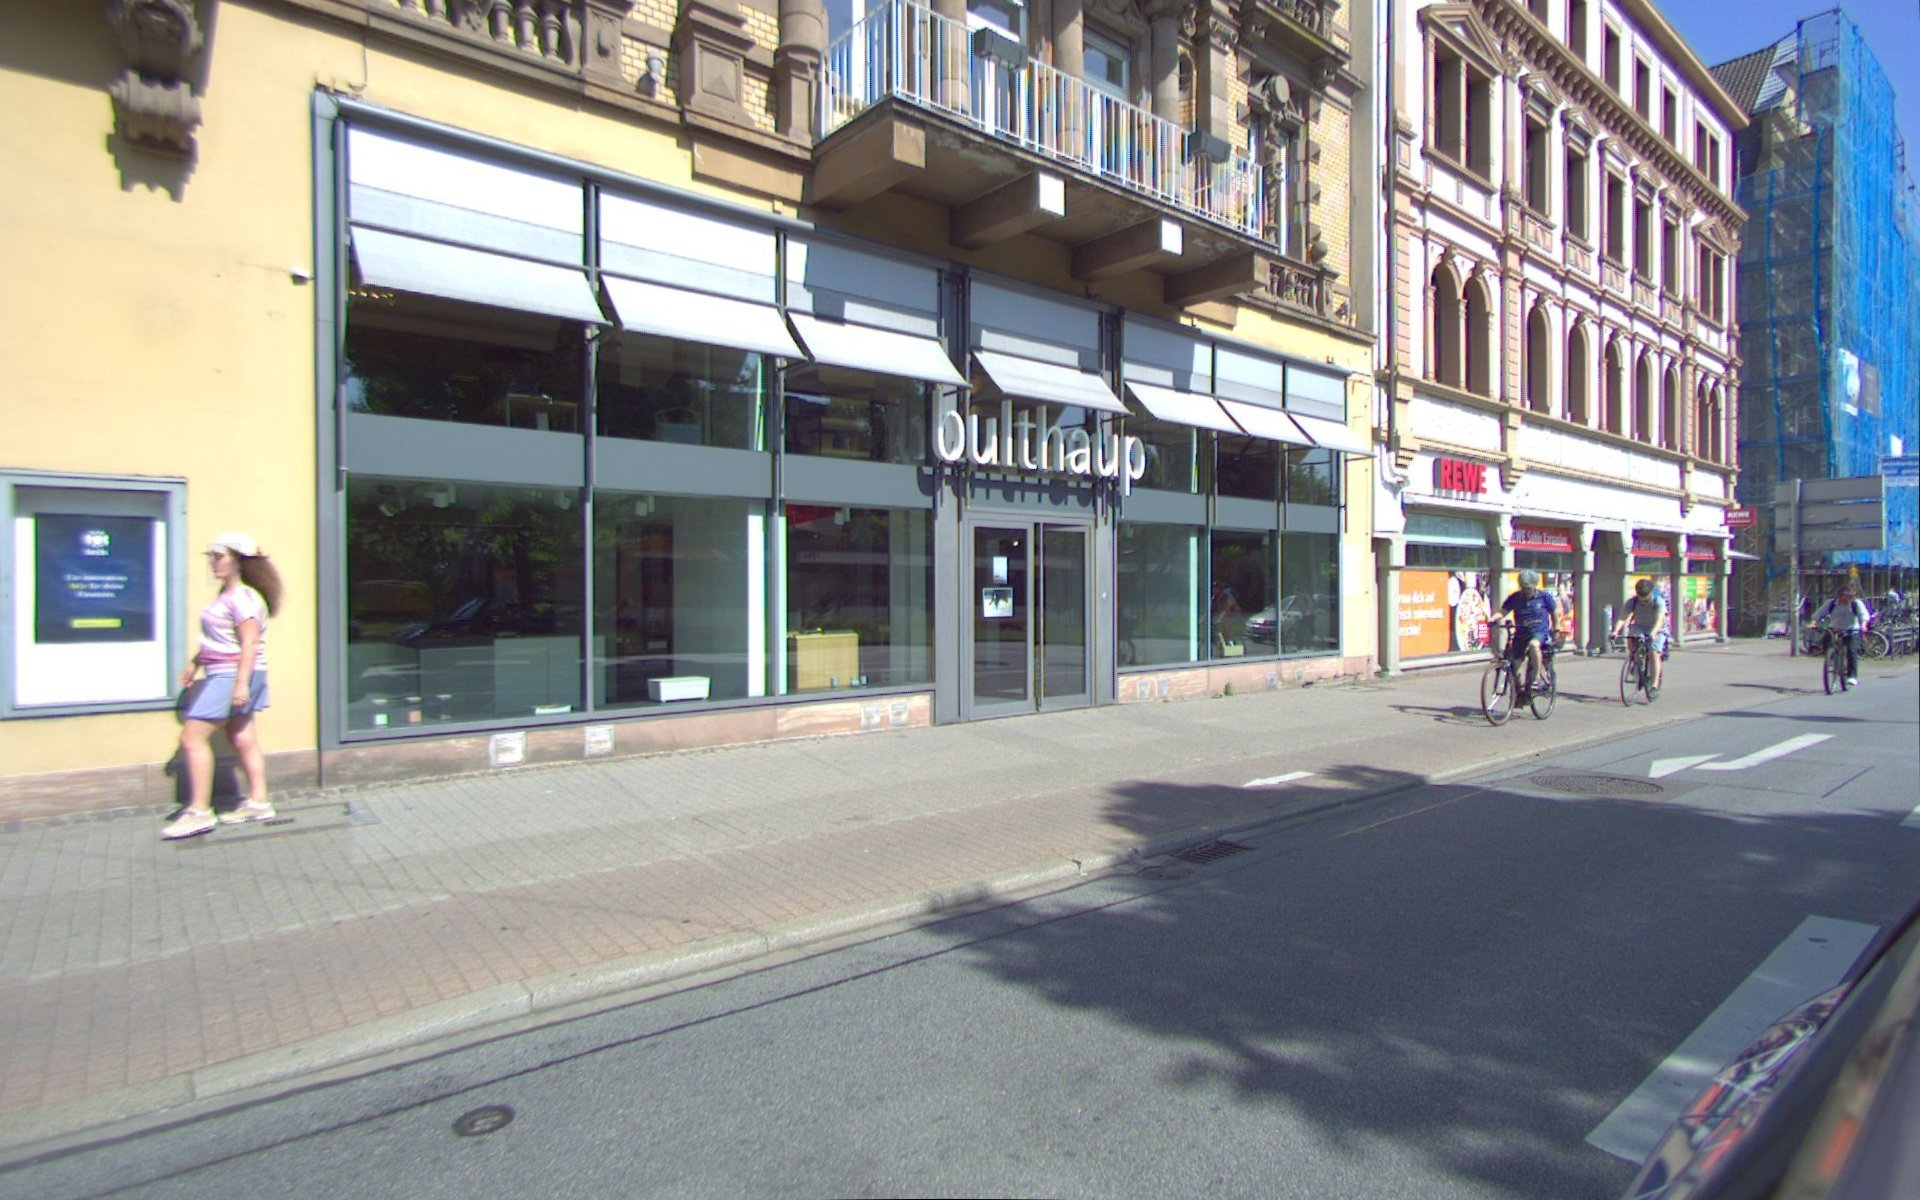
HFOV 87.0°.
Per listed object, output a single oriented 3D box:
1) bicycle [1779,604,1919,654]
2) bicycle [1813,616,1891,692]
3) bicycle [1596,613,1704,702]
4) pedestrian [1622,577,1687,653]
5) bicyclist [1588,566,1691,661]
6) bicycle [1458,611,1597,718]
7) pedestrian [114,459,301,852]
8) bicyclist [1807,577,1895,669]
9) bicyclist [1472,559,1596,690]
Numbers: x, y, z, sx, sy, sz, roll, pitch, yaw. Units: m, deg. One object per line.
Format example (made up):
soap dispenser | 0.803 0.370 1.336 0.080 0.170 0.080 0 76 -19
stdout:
bicycle | 21.440 0.674 24.431 0.631 1.096 2.496 0 1 -36
bicycle | 14.444 0.831 16.368 2.453 1.096 0.643 0 1 -42
bicycle | 9.573 0.750 14.002 2.453 1.096 0.643 0 1 -41
pedestrian | 15.376 0.301 22.395 1.211 1.621 0.912 0 1 -41
bicyclist | 9.526 0.167 14.187 1.211 1.250 0.912 0 1 -41
bicycle | 6.710 0.698 11.890 2.453 1.096 0.643 0 1 -41
pedestrian | -4.334 0.269 5.816 0.801 2.038 0.813 0 3 -41
bicyclist | 14.403 0.344 16.359 1.211 1.411 0.912 0 1 -41
bicyclist | 6.783 0.263 11.954 1.211 1.454 0.912 0 1 -41
